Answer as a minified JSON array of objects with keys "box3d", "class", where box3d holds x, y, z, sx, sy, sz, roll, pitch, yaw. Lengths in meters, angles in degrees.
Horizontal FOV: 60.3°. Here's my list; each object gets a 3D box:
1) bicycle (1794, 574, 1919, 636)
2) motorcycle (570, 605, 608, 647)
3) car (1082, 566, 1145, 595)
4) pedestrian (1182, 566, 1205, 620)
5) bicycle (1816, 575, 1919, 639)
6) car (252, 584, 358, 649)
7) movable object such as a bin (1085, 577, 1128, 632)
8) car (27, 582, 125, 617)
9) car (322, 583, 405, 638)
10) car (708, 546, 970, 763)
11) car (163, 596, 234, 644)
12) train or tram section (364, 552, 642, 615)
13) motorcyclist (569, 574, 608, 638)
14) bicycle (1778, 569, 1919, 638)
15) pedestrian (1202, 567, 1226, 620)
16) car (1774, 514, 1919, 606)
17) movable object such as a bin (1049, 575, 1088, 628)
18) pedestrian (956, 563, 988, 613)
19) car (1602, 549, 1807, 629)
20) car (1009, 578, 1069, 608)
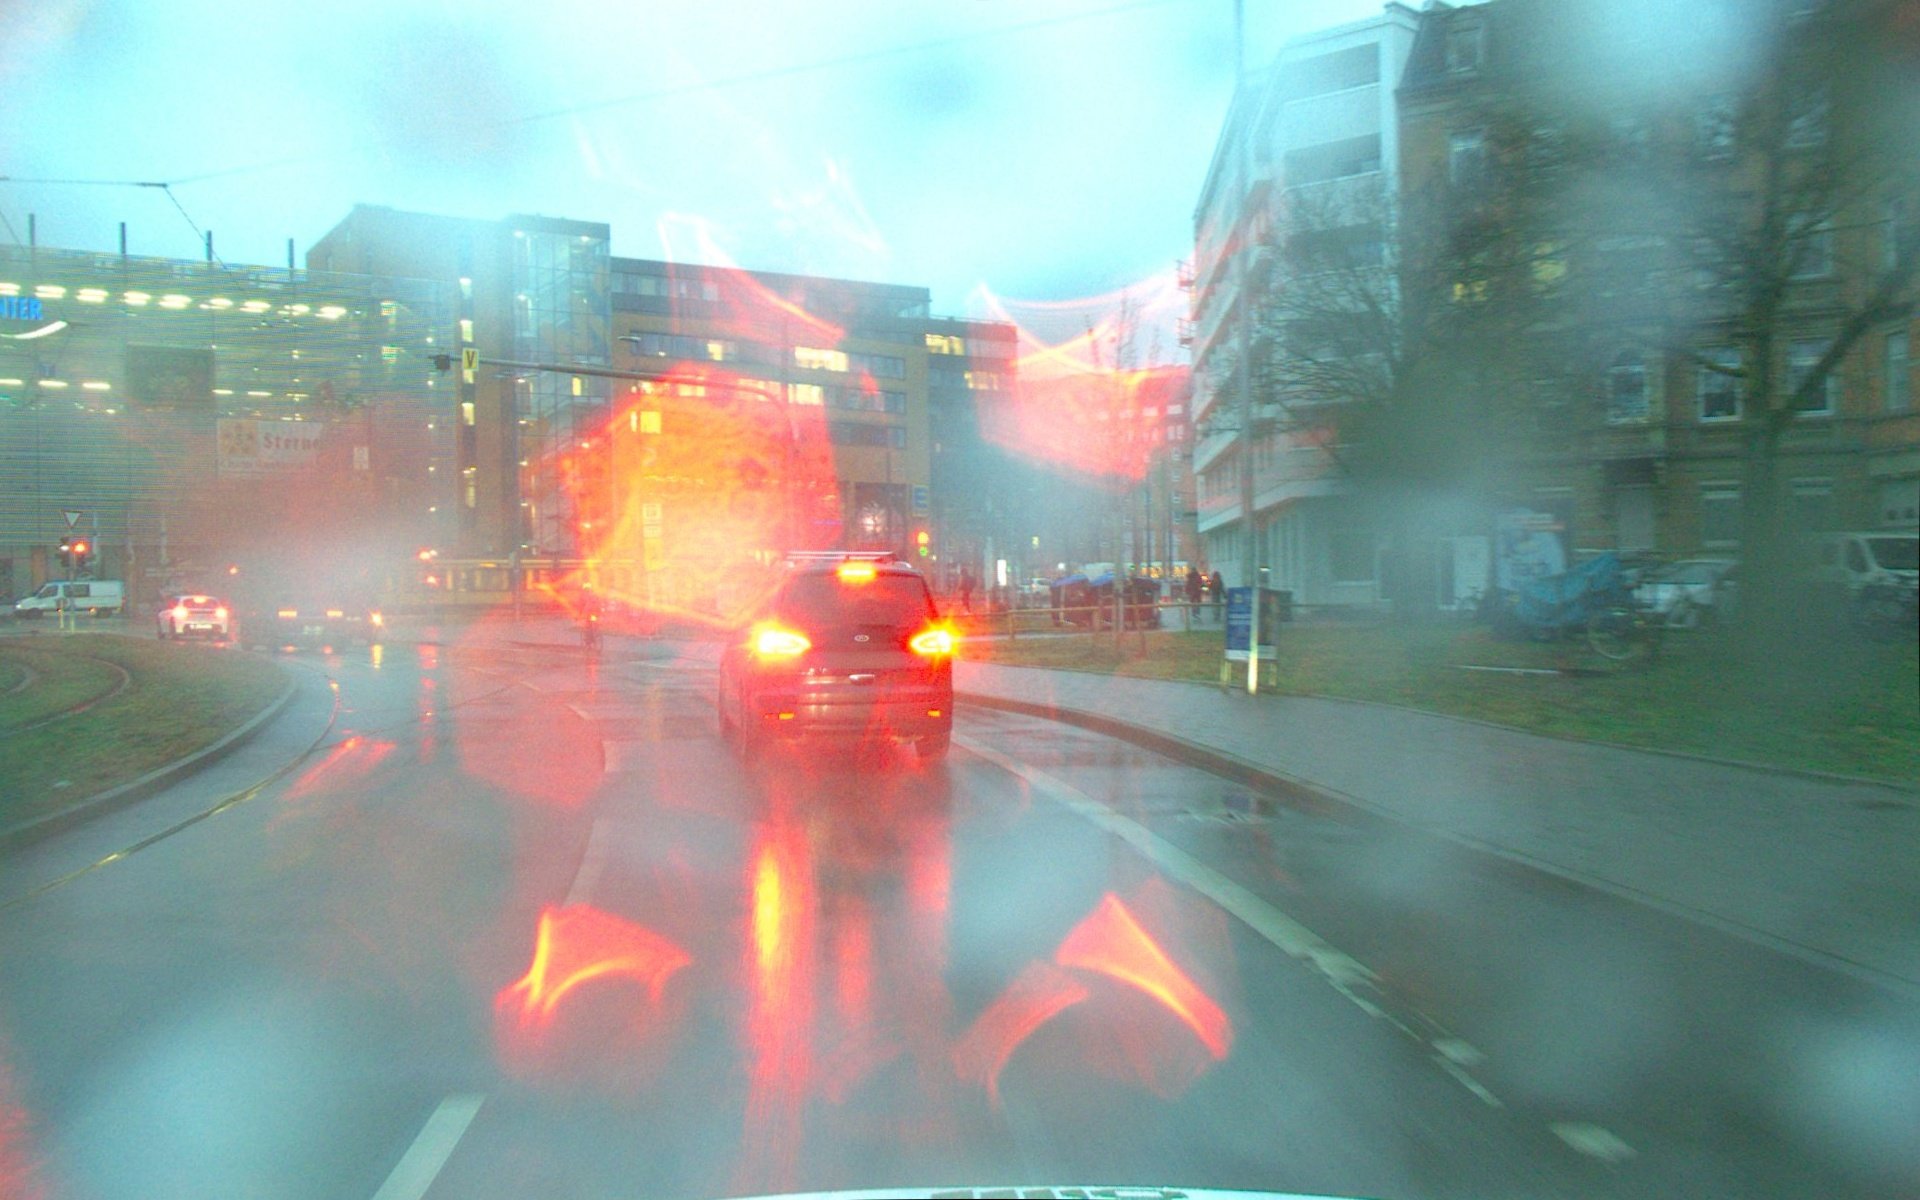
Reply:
[{"box3d":[14.831,0.079,27.021,2.121,0.982,0.626,0,2,-4],"class":"bicycle"},{"box3d":[-9.335,0.646,41.653,0.837,0.988,1.577,-1,1,-10],"class":"motorcycle"},{"box3d":[11.500,-1.471,123.567,4.912,2.049,1.967,1,-1,-45],"class":"car"},{"box3d":[7.675,-0.235,54.419,0.661,1.744,0.606,1,-1,-1],"class":"pedestrian"},{"box3d":[14.870,0.103,26.377,2.121,0.982,0.626,0,2,-4],"class":"bicycle"},{"box3d":[-17.167,0.418,43.248,1.738,1.601,3.951,-2,0,-34],"class":"car"},{"box3d":[4.150,0.133,46.815,1.012,1.516,1.041,1,0,15],"class":"movable object such as a bin"},{"box3d":[-52.613,-0.040,98.461,5.031,1.996,1.869,1,0,-33],"class":"car"},{"box3d":[-19.226,0.340,53.231,1.622,1.727,3.625,0,0,-35],"class":"car"},{"box3d":[-1.293,0.468,15.784,1.706,1.768,4.229,1,-1,-15],"class":"car"},{"box3d":[-25.766,0.669,55.912,1.865,1.512,3.960,-1,0,-30],"class":"car"},{"box3d":[-25.814,-1.059,95.002,2.297,3.317,16.547,-1,1,44],"class":"train or tram section"},{"box3d":[-9.347,0.140,41.651,0.852,1.561,1.105,-1,0,-10],"class":"motorcyclist"},{"box3d":[13.726,0.048,25.321,2.121,0.983,0.625,-2,0,-4],"class":"bicycle"},{"box3d":[8.362,-0.214,54.468,0.662,1.744,0.629,1,-1,-1],"class":"pedestrian"},{"box3d":[21.978,-0.954,40.046,1.953,2.048,4.986,-2,1,-1],"class":"car"},{"box3d":[3.081,0.031,47.051,0.992,1.440,1.225,-2,1,7],"class":"movable object such as a bin"},{"box3d":[0.461,-0.482,65.875,1.148,1.958,0.897,1,-1,-8],"class":"pedestrian"},{"box3d":[13.822,-0.221,30.672,3.810,1.360,1.679,-2,1,-33],"class":"car"},{"box3d":[5.610,-0.504,117.015,3.964,2.049,1.970,1,0,-41],"class":"car"}]
